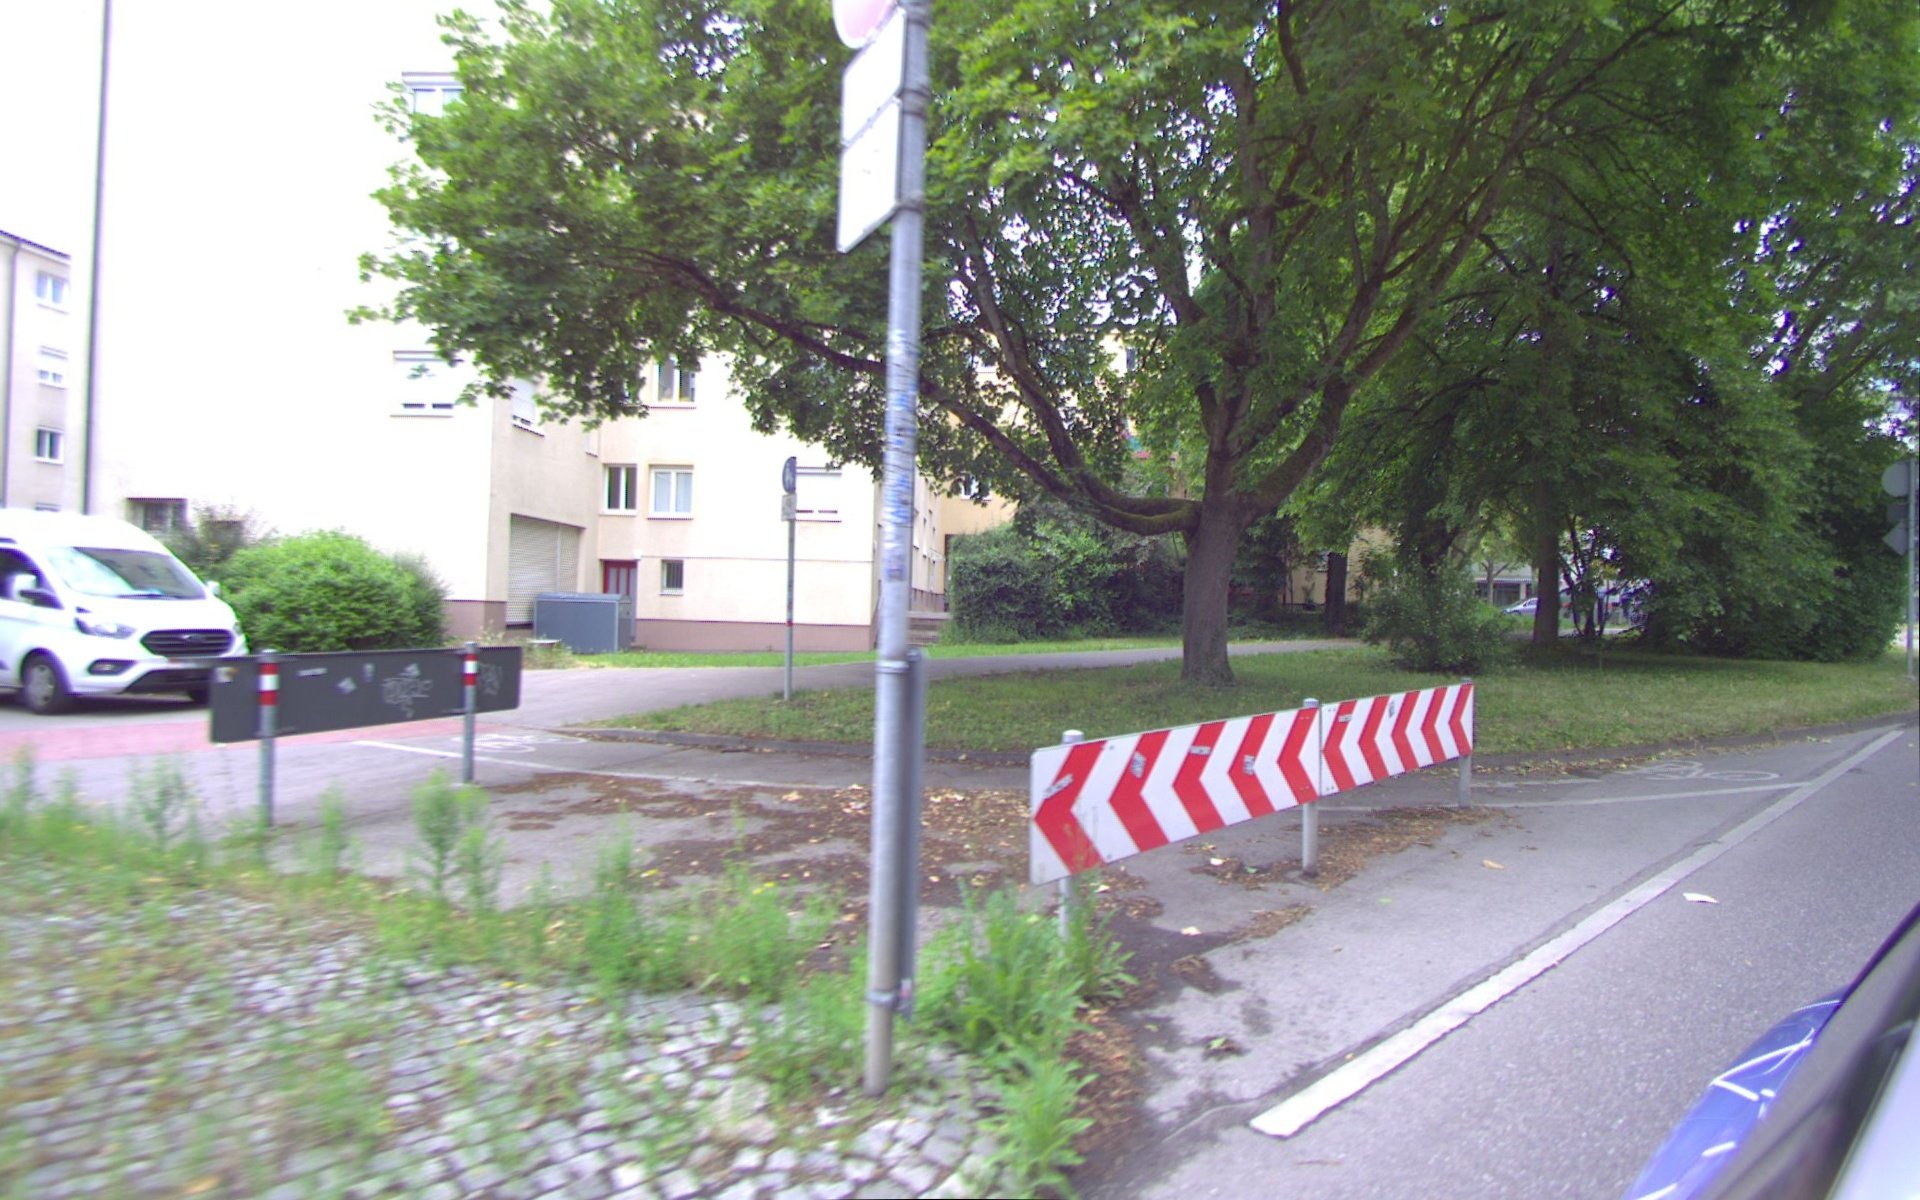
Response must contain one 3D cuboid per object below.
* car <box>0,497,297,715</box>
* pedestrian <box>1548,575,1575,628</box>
[{"bbox_3d":[-11.349,0.028,12.699,5.255,2.328,2.280,1,0,18],"label":"car"},{"bbox_3d":[19.449,0.047,32.719,0.647,1.682,0.641,1,0,39],"label":"pedestrian"}]
